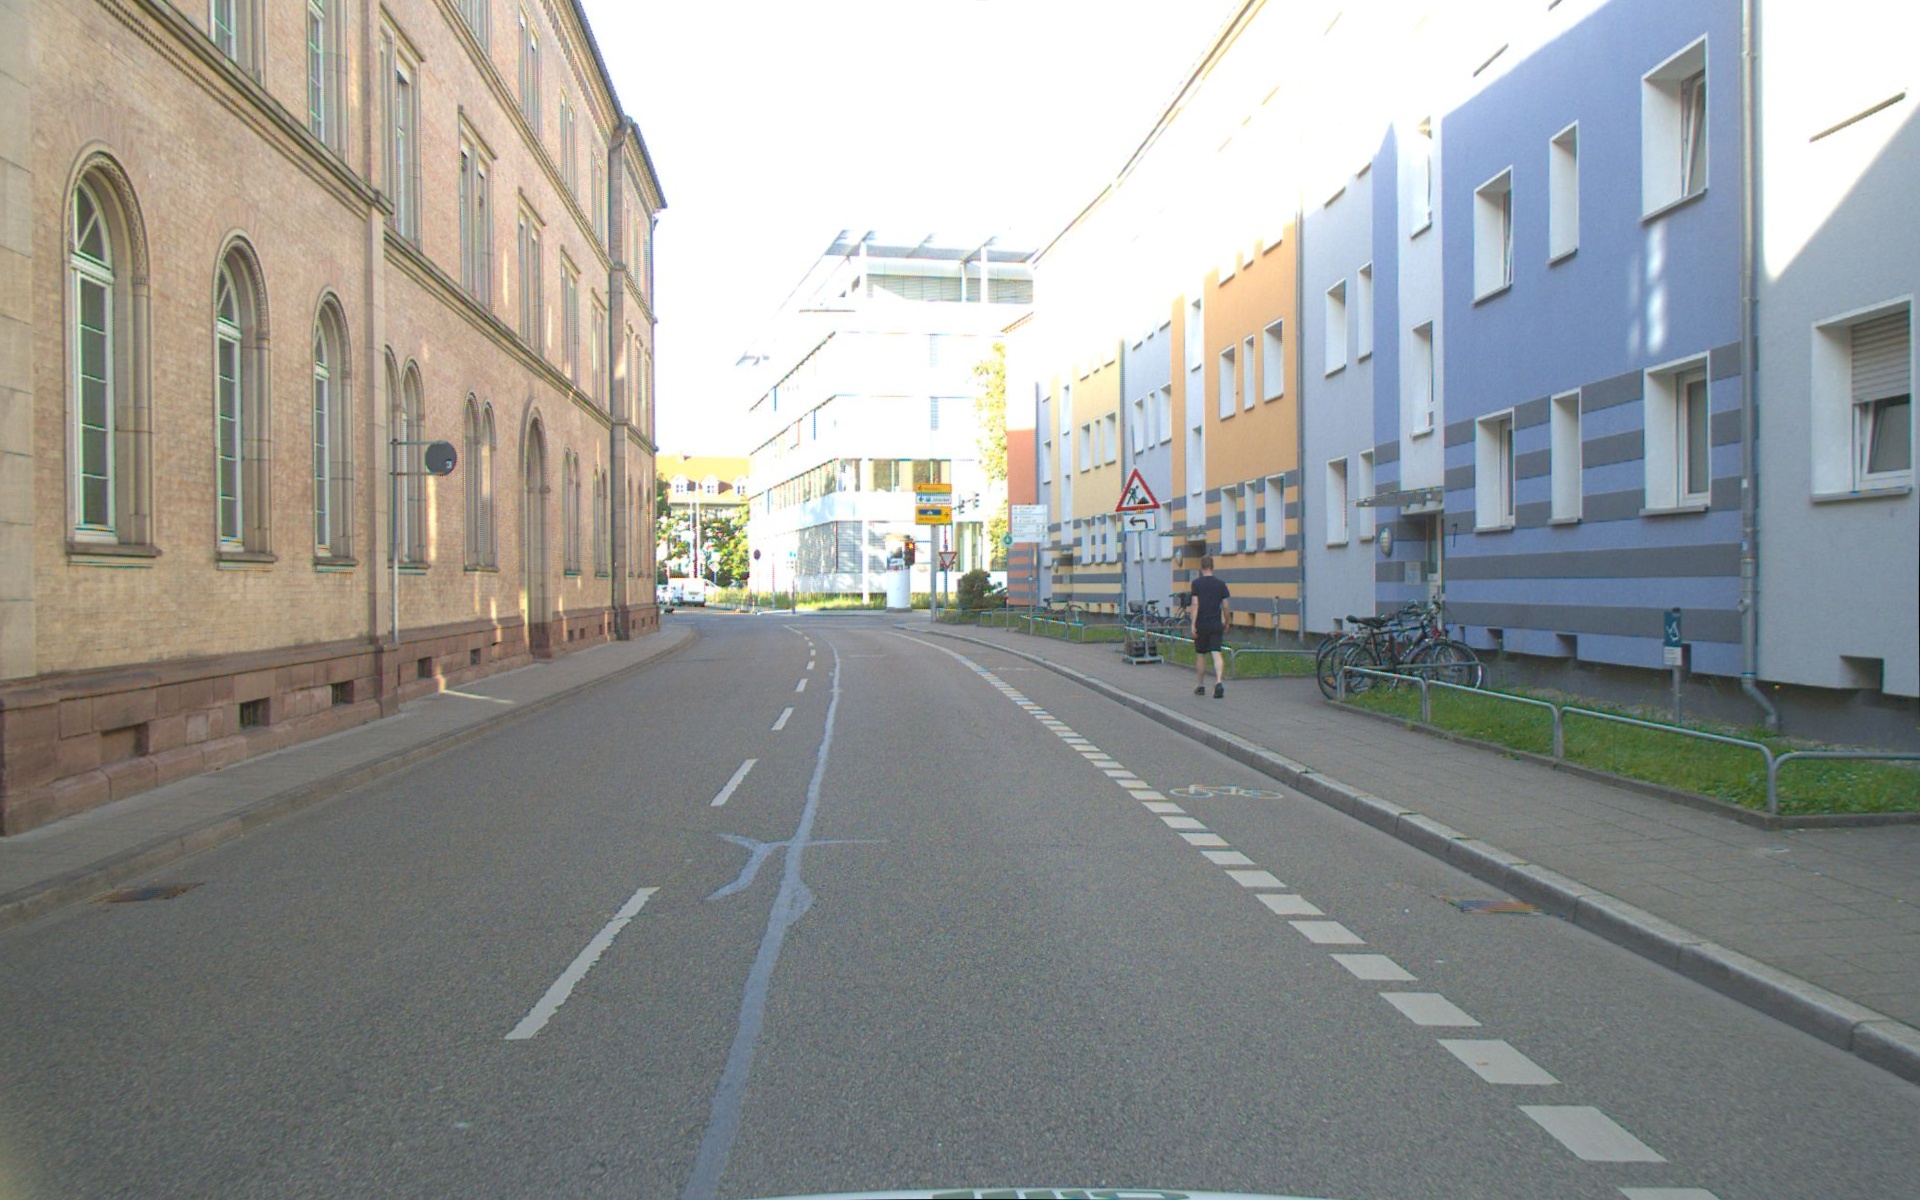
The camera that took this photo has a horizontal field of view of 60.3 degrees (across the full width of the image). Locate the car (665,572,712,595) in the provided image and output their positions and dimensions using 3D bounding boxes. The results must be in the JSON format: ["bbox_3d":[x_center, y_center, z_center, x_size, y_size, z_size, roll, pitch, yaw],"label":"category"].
[{"bbox_3d":[-25.305,-1.531,154.278,3.939,1.949,1.904,2,0,-27],"label":"car"}]

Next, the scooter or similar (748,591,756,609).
[{"bbox_3d":[-12.355,-0.005,98.412,0.319,1.078,1.138,0,1,-15],"label":"scooter or similar"}]

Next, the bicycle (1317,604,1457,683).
[{"bbox_3d":[5.480,0.554,21.243,1.713,0.963,0.335,-1,0,-4],"label":"bicycle"}]

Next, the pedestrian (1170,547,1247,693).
[{"bbox_3d":[3.173,0.239,21.206,0.683,1.790,1.188,-3,1,-3],"label":"pedestrian"}]

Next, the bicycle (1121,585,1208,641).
[{"bbox_3d":[4.402,0.276,35.689,1.775,1.157,0.551,-1,0,-5],"label":"bicycle"}]

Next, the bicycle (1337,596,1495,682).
[{"bbox_3d":[5.413,0.460,19.655,1.713,0.963,0.551,-1,0,-4],"label":"bicycle"}]

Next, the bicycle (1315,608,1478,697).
[{"bbox_3d":[5.003,0.596,19.006,1.713,0.963,0.551,-1,0,-4],"label":"bicycle"}]

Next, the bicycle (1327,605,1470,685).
[{"bbox_3d":[5.519,0.562,20.839,1.713,0.963,0.325,-1,0,-3],"label":"bicycle"}]

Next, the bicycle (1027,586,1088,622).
[{"bbox_3d":[2.930,0.124,49.824,1.721,1.021,0.612,-2,0,-8],"label":"bicycle"}]

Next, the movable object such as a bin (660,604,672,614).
[{"bbox_3d":[-15.768,0.477,88.740,0.580,0.489,0.284,-1,1,-20],"label":"movable object such as a bin"}]

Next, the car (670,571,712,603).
[{"bbox_3d":[-19.123,-0.938,117.259,2.384,2.149,5.210,2,0,-15],"label":"car"}]
